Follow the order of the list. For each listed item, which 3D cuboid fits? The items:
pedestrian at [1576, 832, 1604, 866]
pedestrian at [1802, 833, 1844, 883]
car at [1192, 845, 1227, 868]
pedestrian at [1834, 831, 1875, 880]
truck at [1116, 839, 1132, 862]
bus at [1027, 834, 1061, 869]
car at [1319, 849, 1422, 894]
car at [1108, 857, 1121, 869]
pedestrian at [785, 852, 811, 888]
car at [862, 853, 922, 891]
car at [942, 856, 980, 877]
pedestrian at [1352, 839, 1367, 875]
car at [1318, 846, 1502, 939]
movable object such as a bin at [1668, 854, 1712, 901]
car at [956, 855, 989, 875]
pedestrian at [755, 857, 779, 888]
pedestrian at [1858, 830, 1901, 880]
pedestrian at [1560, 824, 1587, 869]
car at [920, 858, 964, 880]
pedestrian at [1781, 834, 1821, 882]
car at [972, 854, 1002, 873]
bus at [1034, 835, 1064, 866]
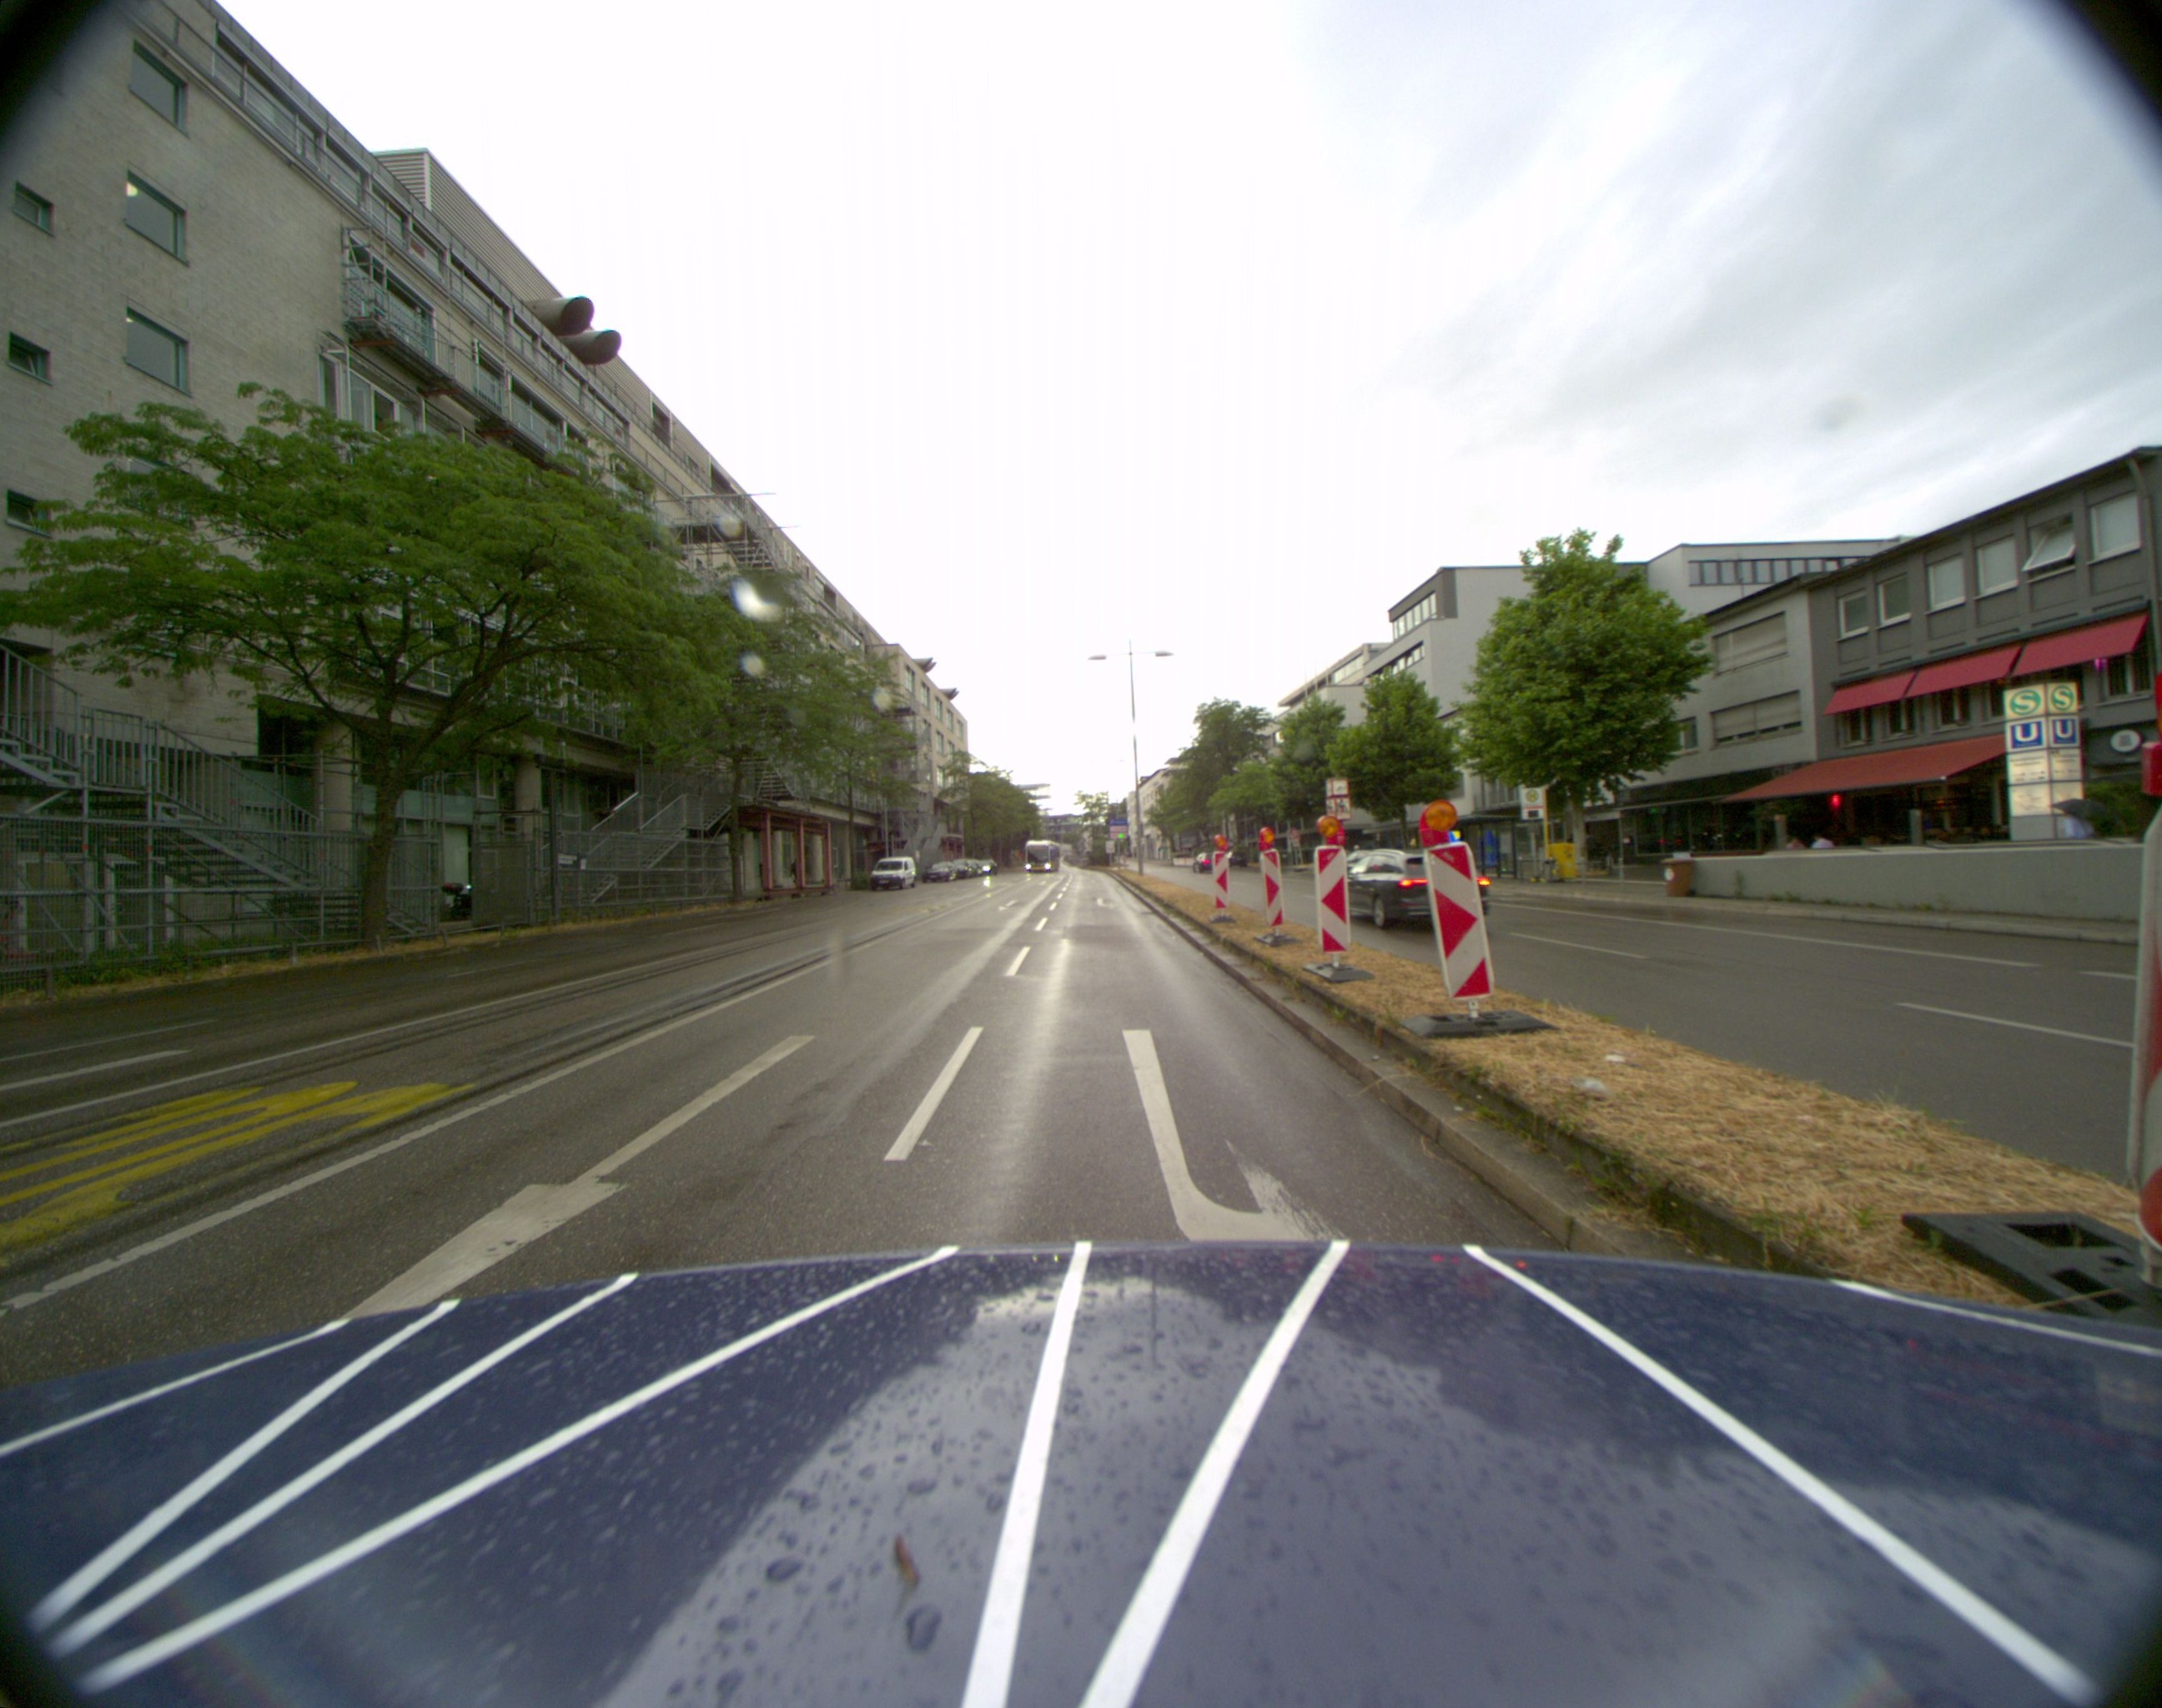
[{"bbox_3d":[23.737,-0.243,35.447,0.774,1.556,0.767,-2,1,8],"label":"pedestrian"},{"bbox_3d":[23.080,0.122,23.650,0.669,1.520,0.611,-2,1,3],"label":"pedestrian"},{"bbox_3d":[9.418,0.178,56.135,1.692,1.545,4.419,-2,1,-2],"label":"car"},{"bbox_3d":[24.915,0.045,24.478,0.669,1.520,0.611,-2,1,4],"label":"pedestrian"},{"bbox_3d":[7.106,-0.552,127.119,1.999,3.557,7.572,-2,0,-2],"label":"truck"},{"bbox_3d":[-3.918,-0.350,82.100,2.890,3.430,9.756,-2,1,1],"label":"bus"},{"bbox_3d":[10.252,0.570,27.273,1.692,1.423,4.211,-2,1,-6],"label":"car"},{"bbox_3d":[6.048,1.566,138.166,1.999,2.002,3.999,-2,1,-2],"label":"car"},{"bbox_3d":[-16.284,0.931,43.695,1.009,2.002,1.039,-2,1,1],"label":"pedestrian"},{"bbox_3d":[-10.528,0.943,42.661,2.213,1.895,4.329,-2,1,0],"label":"car"},{"bbox_3d":[-9.625,0.980,61.224,2.147,1.486,4.816,-2,1,1],"label":"car"},{"bbox_3d":[14.560,0.159,39.742,0.575,1.815,0.580,-2,1,7],"label":"pedestrian"},{"bbox_3d":[6.223,0.651,14.948,1.692,1.501,4.291,-2,0,-1],"label":"car"},{"bbox_3d":[14.560,0.553,18.172,0.507,1.094,0.660,-2,1,-2],"label":"movable object such as a bin"},{"bbox_3d":[-9.465,0.940,66.694,2.147,1.552,4.816,-2,1,1],"label":"car"},{"bbox_3d":[-18.345,1.076,44.451,1.010,1.789,0.846,-2,1,-3],"label":"pedestrian"},{"bbox_3d":[24.990,0.037,23.796,0.669,1.520,0.611,-2,1,3],"label":"pedestrian"},{"bbox_3d":[22.862,-0.352,35.288,0.774,2.002,0.767,-2,1,8],"label":"pedestrian"},{"bbox_3d":[-9.893,1.056,54.426,2.147,1.329,4.816,-2,1,1],"label":"car"},{"bbox_3d":[23.338,0.140,24.636,0.669,1.520,0.611,-2,1,3],"label":"pedestrian"},{"bbox_3d":[-8.894,0.899,72.430,2.147,1.637,4.816,-2,1,1],"label":"car"},{"bbox_3d":[-3.756,-0.462,91.850,2.890,3.420,9.709,-2,1,1],"label":"bus"}]
